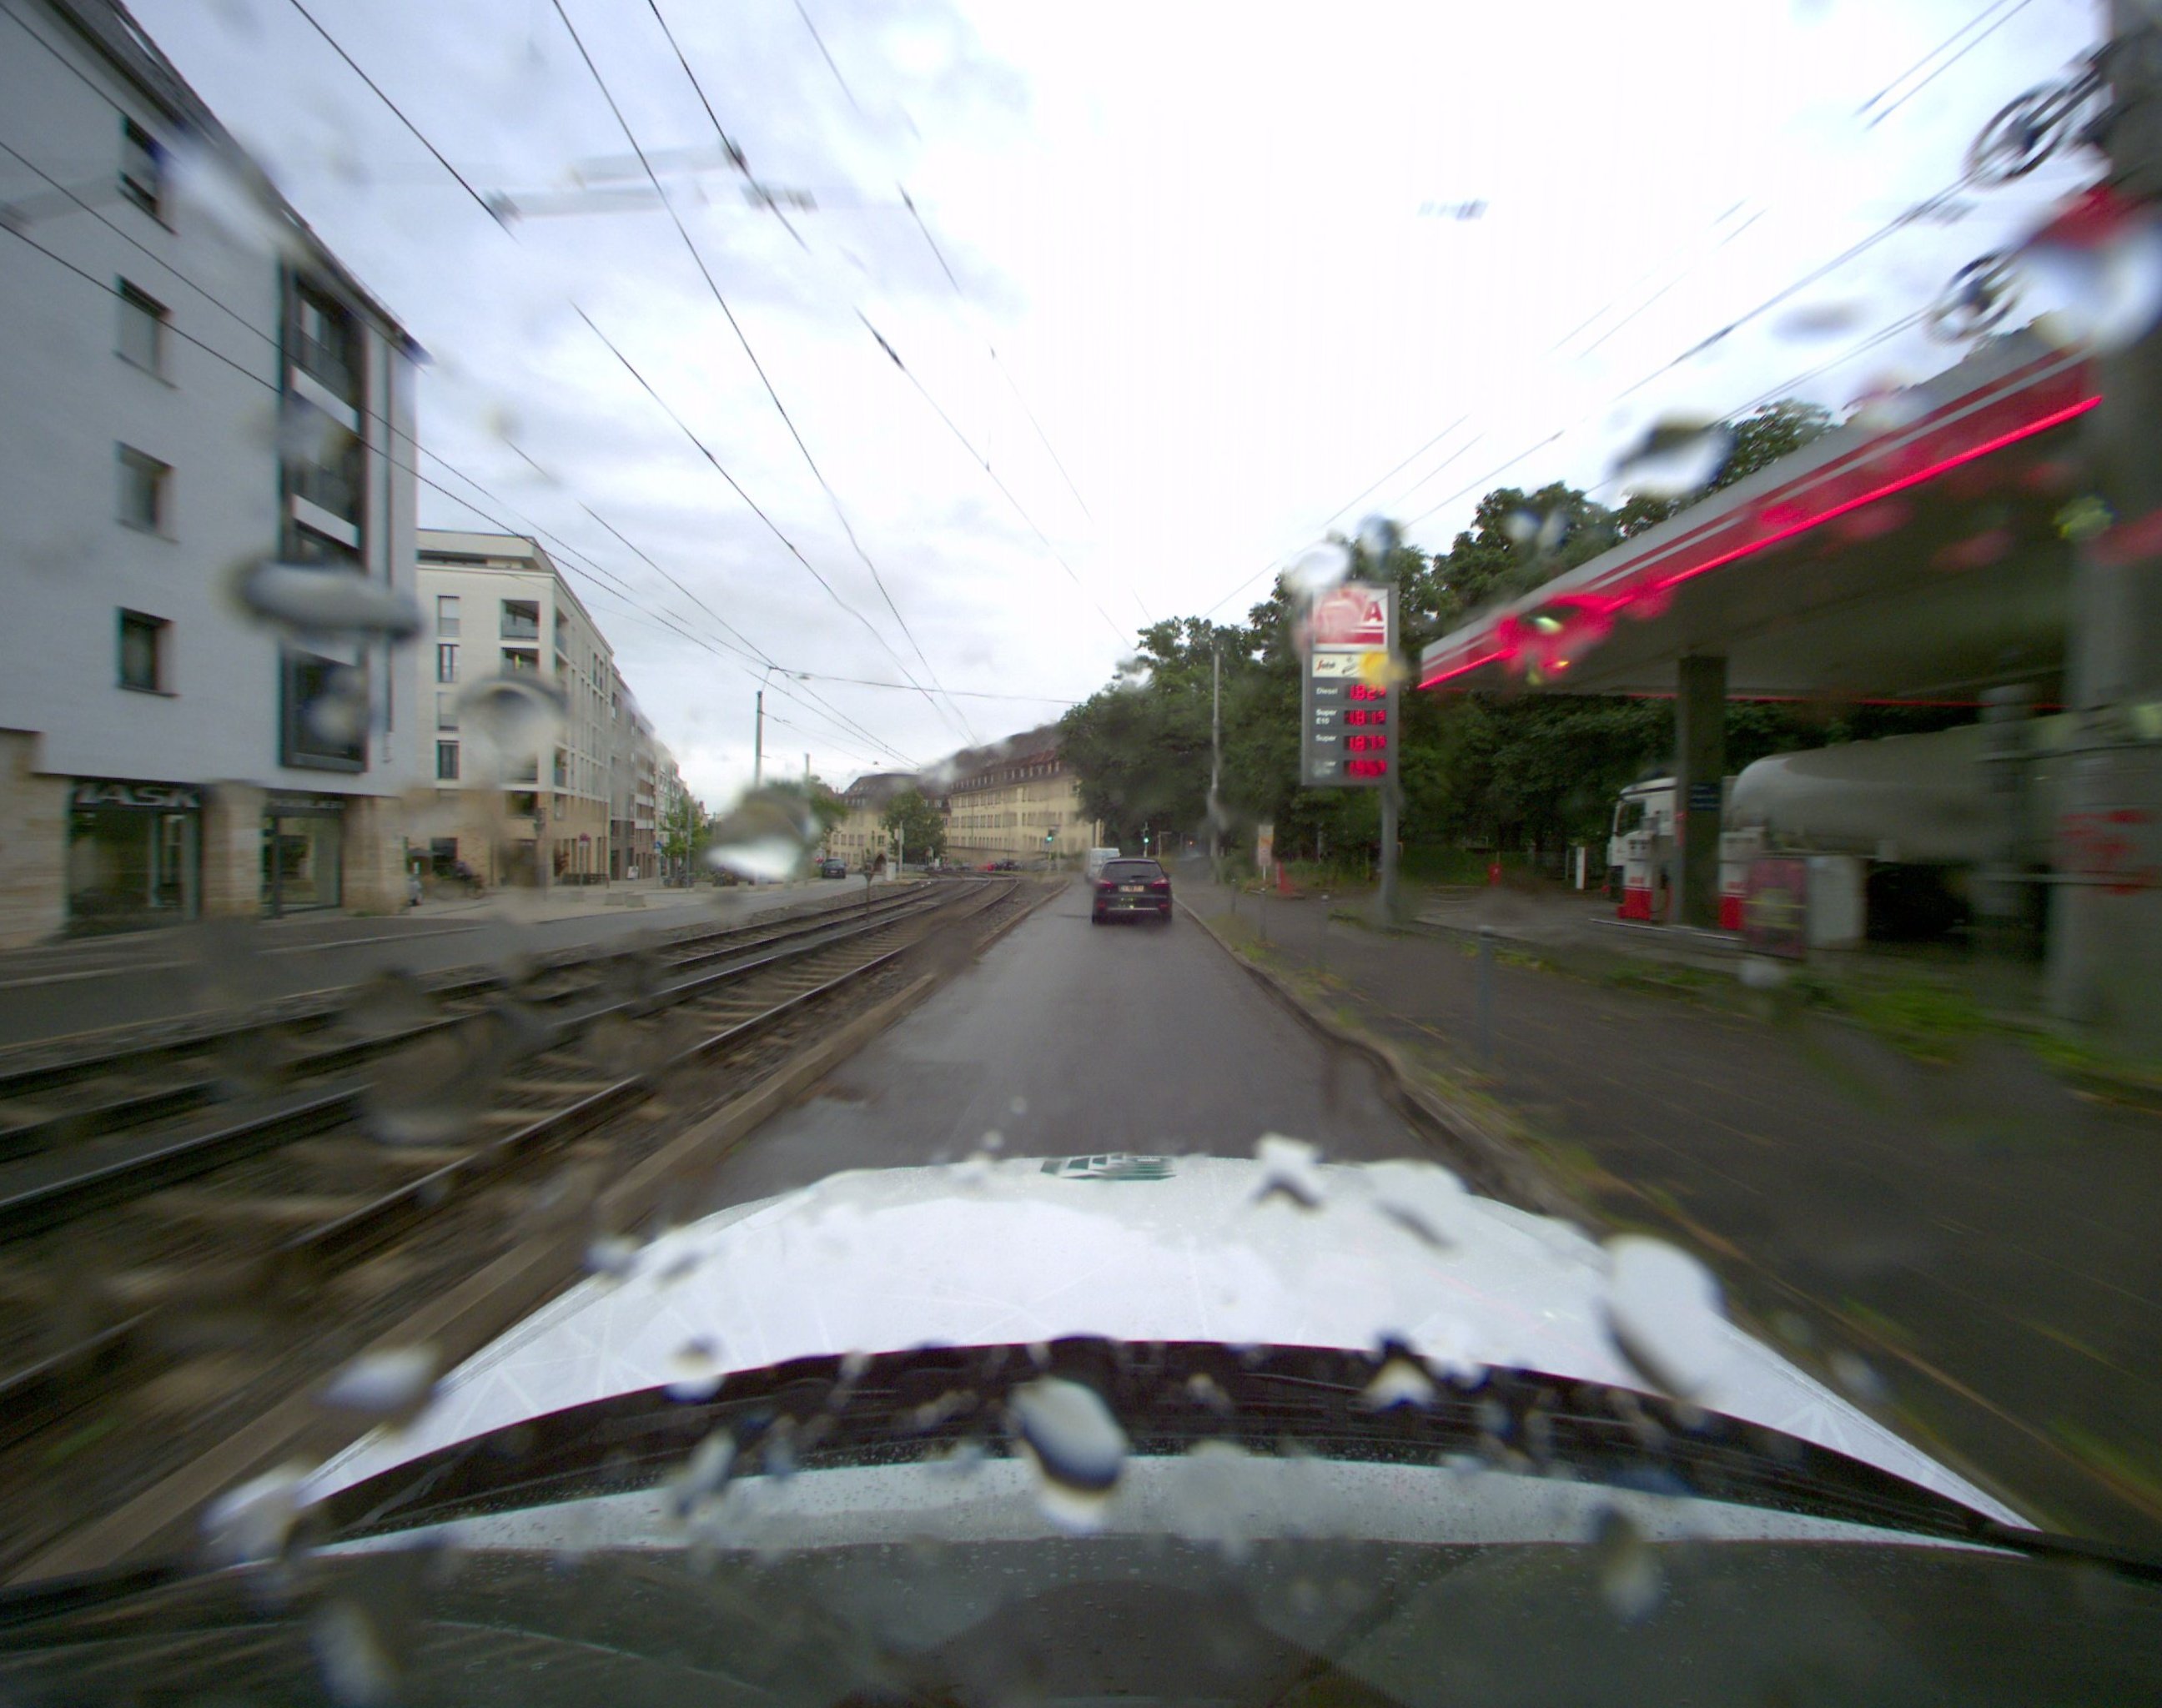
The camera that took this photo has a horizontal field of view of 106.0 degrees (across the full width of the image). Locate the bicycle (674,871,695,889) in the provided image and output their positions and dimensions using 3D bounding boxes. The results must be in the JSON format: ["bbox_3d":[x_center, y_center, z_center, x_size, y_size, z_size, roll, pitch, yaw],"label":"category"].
[{"bbox_3d":[-24.442,1.593,50.206,0.474,1.047,2.224,-1,0,-7],"label":"bicycle"}]

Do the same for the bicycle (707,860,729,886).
[{"bbox_3d":[-22.408,1.173,50.346,0.675,1.596,2.352,0,-1,-10],"label":"bicycle"}]

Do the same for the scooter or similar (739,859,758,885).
[{"bbox_3d":[-20.690,1.115,50.681,0.599,1.596,2.352,0,-1,-10],"label":"scooter or similar"}]

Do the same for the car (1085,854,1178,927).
[{"bbox_3d":[1.129,0.772,19.097,1.913,1.479,4.002,-1,0,2],"label":"car"}]

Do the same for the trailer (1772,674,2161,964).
[{"bbox_3d":[14.088,-0.419,10.014,2.795,3.396,9.833,-1,-1,0],"label":"trailer"}]

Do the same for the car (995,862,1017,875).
[{"bbox_3d":[-9.527,1.800,103.161,1.674,1.573,3.824,-2,-1,-25],"label":"car"}]

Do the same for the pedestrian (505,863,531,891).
[{"bbox_3d":[-34.500,1.414,49.901,0.834,1.652,0.906,-3,0,9],"label":"pedestrian"}]

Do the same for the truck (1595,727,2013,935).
[{"bbox_3d":[13.918,-0.381,16.526,2.822,3.399,6.118,-1,0,-3],"label":"truck"}]

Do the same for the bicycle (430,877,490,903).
[{"bbox_3d":[-26.699,1.541,35.058,2.021,1.029,0.727,-1,0,-37],"label":"bicycle"}]

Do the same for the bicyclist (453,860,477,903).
[{"bbox_3d":[-26.601,1.165,35.186,0.792,1.804,0.891,0,-1,-37],"label":"bicyclist"}]

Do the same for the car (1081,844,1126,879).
[{"bbox_3d":[1.155,0.389,43.499,2.131,1.745,4.215,-1,0,-2],"label":"car"}]

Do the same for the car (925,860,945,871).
[{"bbox_3d":[-21.951,1.769,122.315,1.676,1.524,4.068,-2,0,-31],"label":"car"}]

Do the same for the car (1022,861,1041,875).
[{"bbox_3d":[-5.726,1.617,94.321,1.602,1.465,2.704,-2,0,-18],"label":"car"}]

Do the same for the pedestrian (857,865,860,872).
[{"bbox_3d":[-43.319,2.775,158.660,0.508,1.315,0.505,0,-1,-34],"label":"pedestrian"}]

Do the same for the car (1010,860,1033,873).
[{"bbox_3d":[-7.215,1.512,98.108,1.543,1.416,3.614,-2,0,-25],"label":"car"}]

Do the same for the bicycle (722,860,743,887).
[{"bbox_3d":[-21.602,1.182,50.478,0.675,1.596,2.352,0,-1,-10],"label":"bicycle"}]

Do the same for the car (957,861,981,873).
[{"bbox_3d":[-15.467,1.783,112.379,1.676,1.476,4.413,-2,0,-31],"label":"car"}]

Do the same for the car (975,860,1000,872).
[{"bbox_3d":[-12.404,1.635,107.797,1.678,1.477,4.022,1,-2,-35],"label":"car"}]

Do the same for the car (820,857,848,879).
[{"bbox_3d":[-19.962,1.148,65.865,1.998,1.605,4.191,3,-2,-17],"label":"car"}]

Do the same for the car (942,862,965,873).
[{"bbox_3d":[-18.366,1.907,117.263,1.677,1.476,4.065,-2,0,-33],"label":"car"}]

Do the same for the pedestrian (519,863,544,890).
[{"bbox_3d":[-34.373,1.402,50.936,0.833,1.652,0.906,-2,-1,10],"label":"pedestrian"}]

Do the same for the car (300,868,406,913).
[{"bbox_3d":[-25.307,1.211,28.462,1.603,1.420,3.886,0,-1,-24],"label":"car"}]
